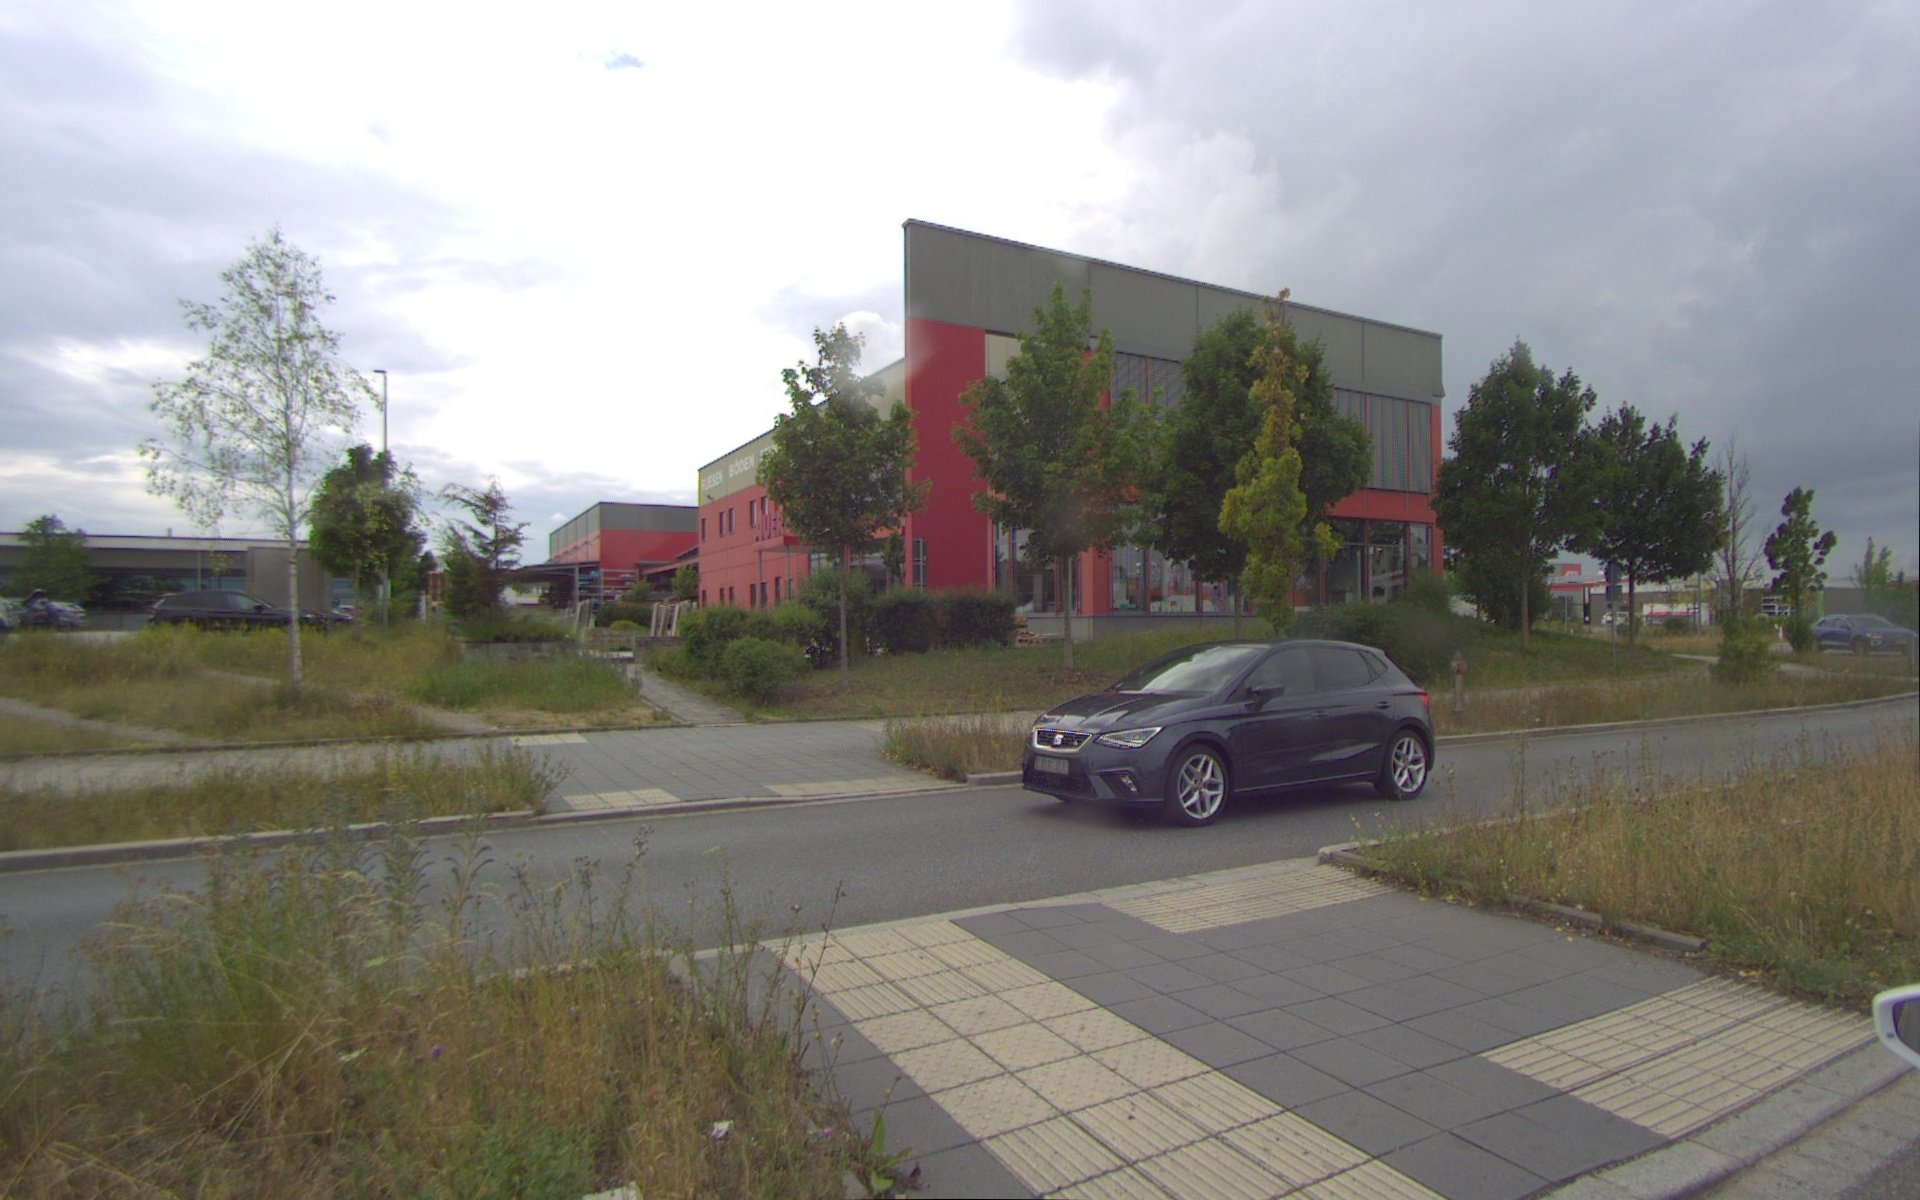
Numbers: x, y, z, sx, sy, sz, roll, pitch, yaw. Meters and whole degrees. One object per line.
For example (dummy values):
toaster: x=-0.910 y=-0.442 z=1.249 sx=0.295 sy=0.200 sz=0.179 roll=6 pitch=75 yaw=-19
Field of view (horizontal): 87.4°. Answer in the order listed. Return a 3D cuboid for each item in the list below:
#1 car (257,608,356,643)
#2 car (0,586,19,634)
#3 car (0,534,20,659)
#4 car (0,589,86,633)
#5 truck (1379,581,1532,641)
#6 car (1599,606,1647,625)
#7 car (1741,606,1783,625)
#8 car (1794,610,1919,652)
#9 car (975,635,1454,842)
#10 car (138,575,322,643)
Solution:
car: x=-32.586 y=1.274 z=50.231 sx=3.950 sy=1.673 sz=1.986 roll=1 pitch=-1 yaw=-28
car: x=-42.799 y=0.401 z=42.420 sx=3.941 sy=2.040 sz=1.990 roll=1 pitch=-1 yaw=-21
car: x=-20.254 y=-0.122 z=18.692 sx=2.214 sy=2.633 sz=6.386 roll=1 pitch=-1 yaw=-26
car: x=-44.428 y=0.551 z=47.634 sx=3.933 sy=2.040 sz=1.994 roll=0 pitch=-1 yaw=-15
truck: x=34.658 y=0.814 z=70.649 sx=3.115 sy=3.958 sz=9.236 roll=1 pitch=-2 yaw=-37
car: x=73.923 y=1.725 z=112.038 sx=1.978 sy=2.040 sz=3.966 roll=1 pitch=-1 yaw=-31
car: x=79.834 y=1.558 z=99.941 sx=3.952 sy=1.884 sz=1.984 roll=1 pitch=-1 yaw=-30
car: x=34.971 y=1.251 z=39.055 sx=1.810 sy=1.548 sz=4.232 roll=-1 pitch=-3 yaw=6
car: x=2.286 y=1.053 z=8.849 sx=3.954 sy=1.425 sz=1.833 roll=1 pitch=-3 yaw=-31
car: x=-23.443 y=0.332 z=32.508 sx=4.583 sy=2.060 sz=1.984 roll=1 pitch=-2 yaw=-30
